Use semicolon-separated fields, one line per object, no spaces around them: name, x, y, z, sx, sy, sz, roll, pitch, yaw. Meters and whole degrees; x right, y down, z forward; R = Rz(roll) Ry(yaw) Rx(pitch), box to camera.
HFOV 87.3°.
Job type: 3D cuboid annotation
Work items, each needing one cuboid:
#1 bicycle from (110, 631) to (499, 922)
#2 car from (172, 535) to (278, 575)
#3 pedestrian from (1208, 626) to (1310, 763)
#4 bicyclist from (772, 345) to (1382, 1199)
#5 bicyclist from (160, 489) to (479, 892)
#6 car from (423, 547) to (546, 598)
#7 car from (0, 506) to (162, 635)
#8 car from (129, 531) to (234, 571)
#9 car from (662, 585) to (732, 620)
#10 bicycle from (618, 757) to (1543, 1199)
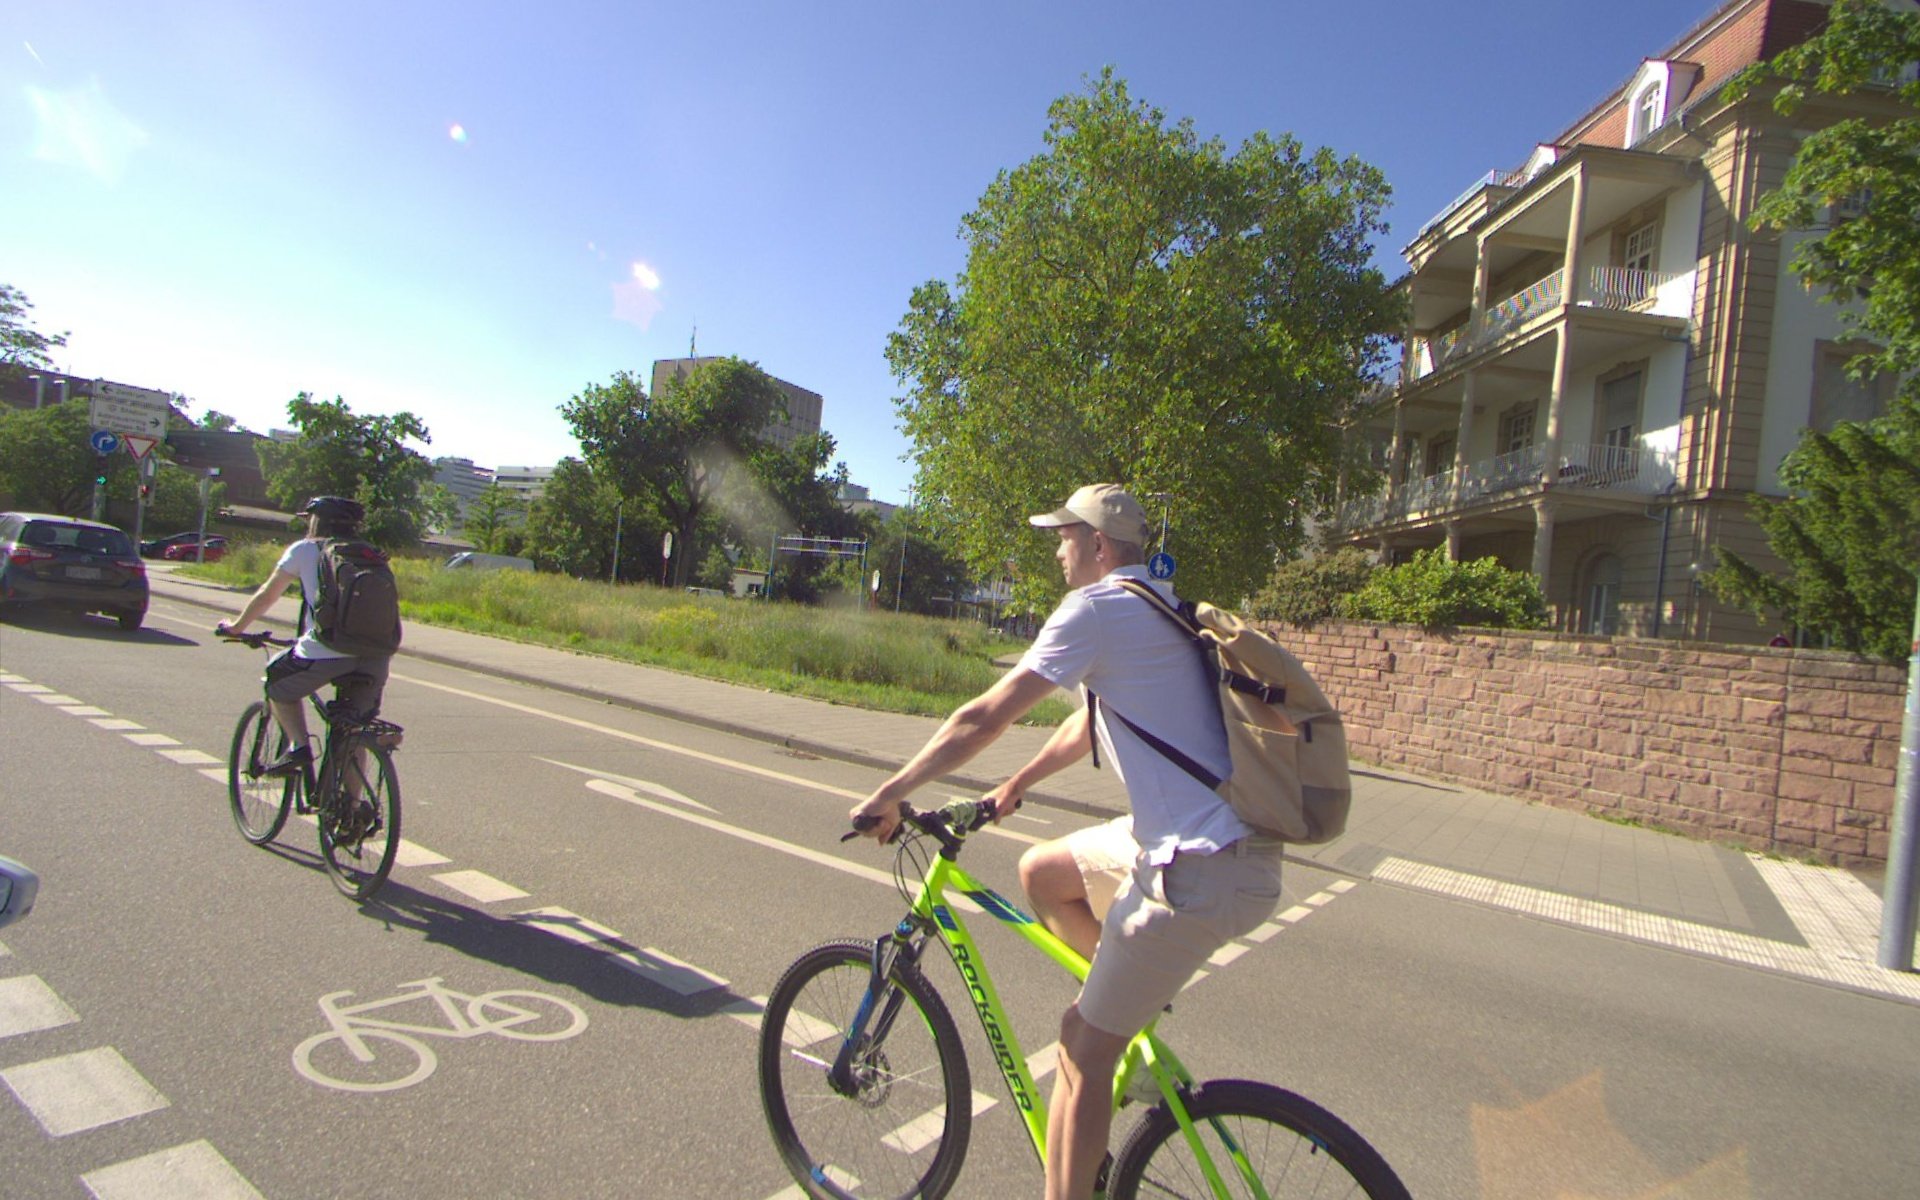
bicycle;-3.129;0.748;4.754;1.852;0.970;0.724;5;-3;31
car;-37.667;-2.307;51.594;1.972;1.481;3.983;5;-2;41
pedestrian;4.347;1.360;14.681;0.752;1.855;1.041;5;1;-31
bicyclist;0.271;0.402;2.281;0.988;1.770;0.664;8;3;28
bicyclist;-3.001;0.379;4.727;1.037;1.644;0.723;6;-2;31
car;-31.503;-1.766;66.941;2.043;2.452;7.154;6;-1;37
car;-13.554;-0.469;14.862;3.603;1.559;1.757;4;-3;36
car;-40.800;-2.543;52.760;1.972;1.481;3.983;6;-2;41
car;-21.242;0.218;81.521;2.044;2.252;5.087;6;-1;39
bicycle;0.182;1.103;2.318;1.857;1.061;0.663;8;2;28
